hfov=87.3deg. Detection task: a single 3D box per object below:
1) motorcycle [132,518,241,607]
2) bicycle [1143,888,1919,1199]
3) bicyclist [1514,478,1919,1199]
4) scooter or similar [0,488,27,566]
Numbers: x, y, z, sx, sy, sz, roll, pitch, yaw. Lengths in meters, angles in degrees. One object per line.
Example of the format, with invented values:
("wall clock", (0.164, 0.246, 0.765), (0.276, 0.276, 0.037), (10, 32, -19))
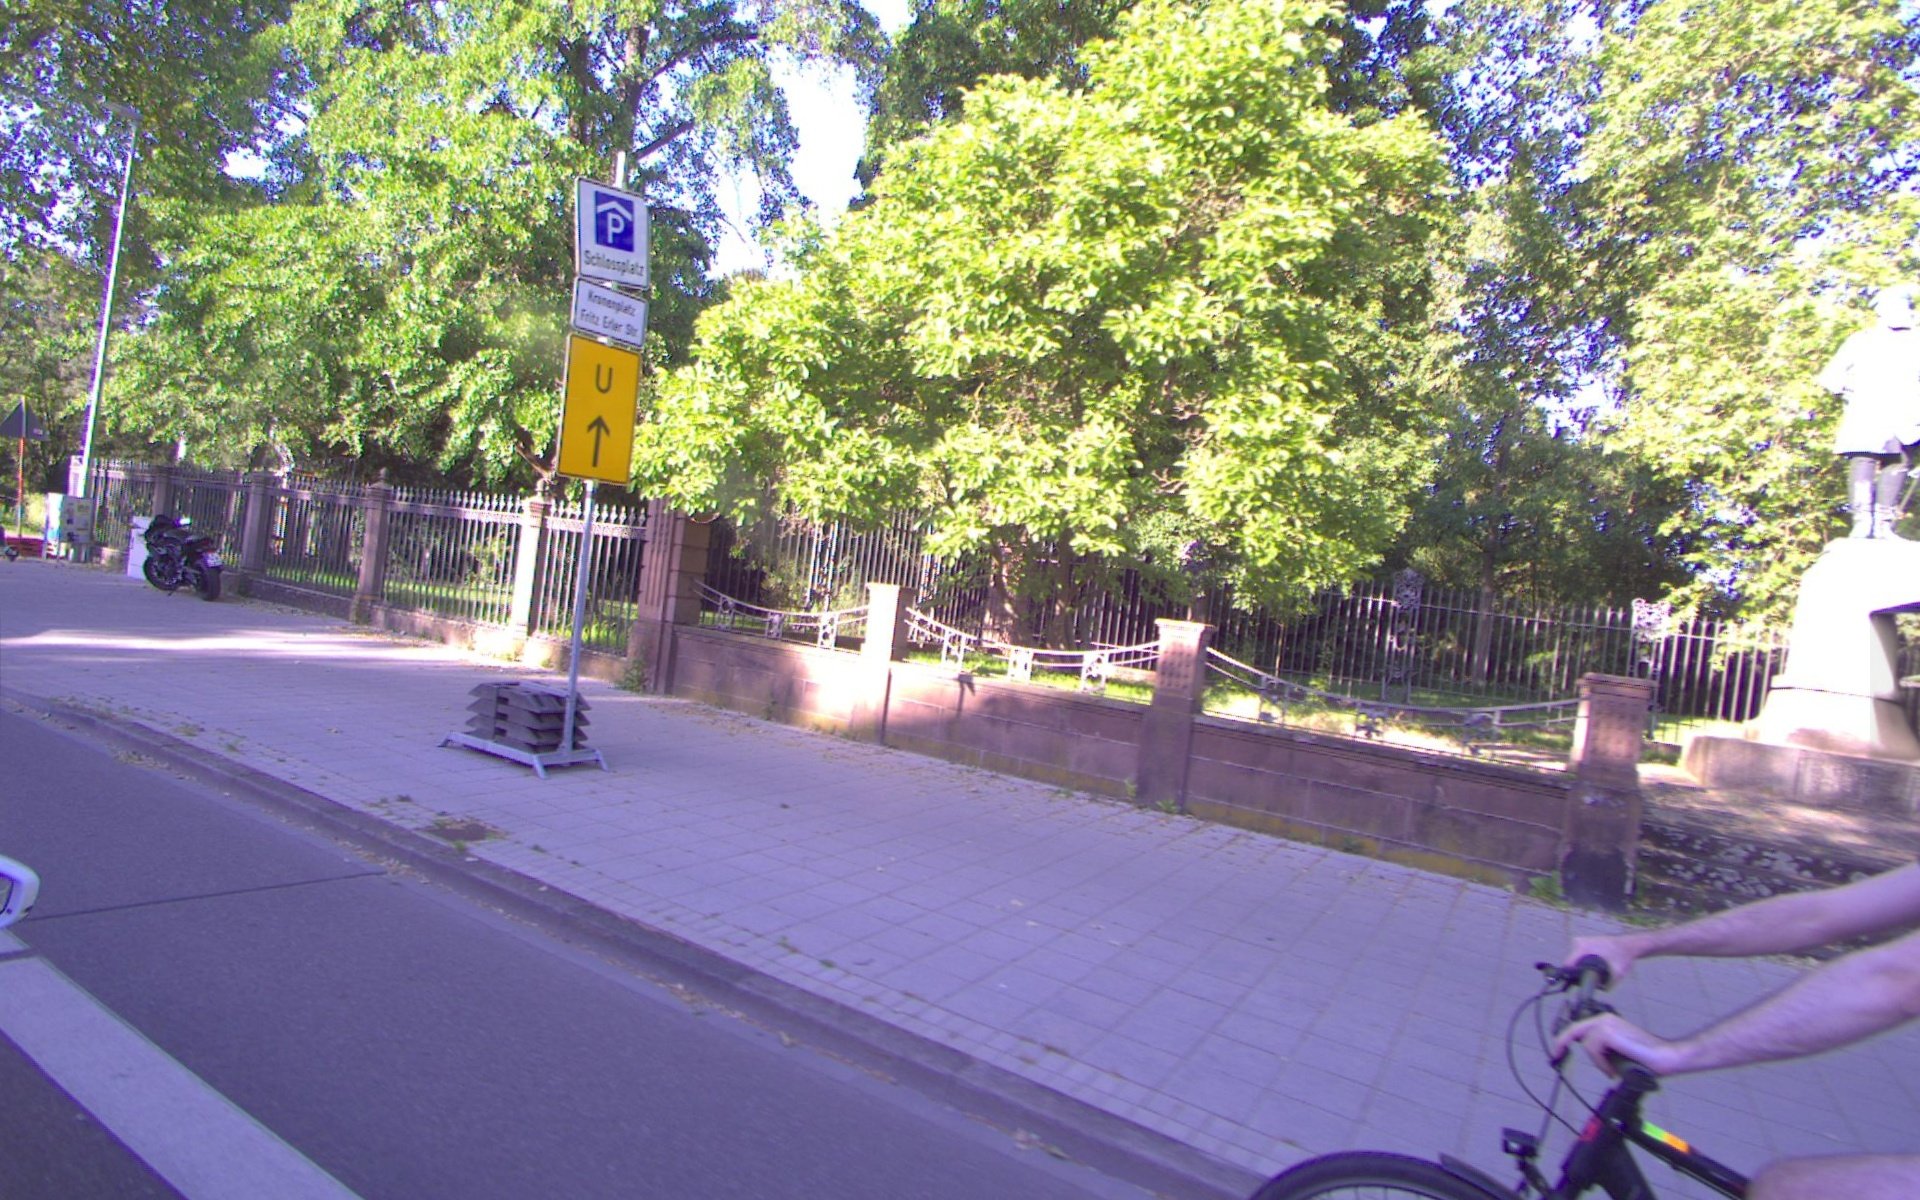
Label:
("motorcycle", (-11.734, -0.586, 15.243), (2.134, 1.146, 0.506), (7, 2, 31))
("bicycle", (1.309, 1.205, 1.350), (2.046, 1.021, 0.670), (7, -1, 31))
("bicyclist", (1.242, 0.714, 1.435), (0.709, 1.620, 0.667), (8, -1, 31))
("scooter or similar", (-17.502, -1.355, 18.400), (1.152, 1.343, 0.228), (7, 1, 31))
